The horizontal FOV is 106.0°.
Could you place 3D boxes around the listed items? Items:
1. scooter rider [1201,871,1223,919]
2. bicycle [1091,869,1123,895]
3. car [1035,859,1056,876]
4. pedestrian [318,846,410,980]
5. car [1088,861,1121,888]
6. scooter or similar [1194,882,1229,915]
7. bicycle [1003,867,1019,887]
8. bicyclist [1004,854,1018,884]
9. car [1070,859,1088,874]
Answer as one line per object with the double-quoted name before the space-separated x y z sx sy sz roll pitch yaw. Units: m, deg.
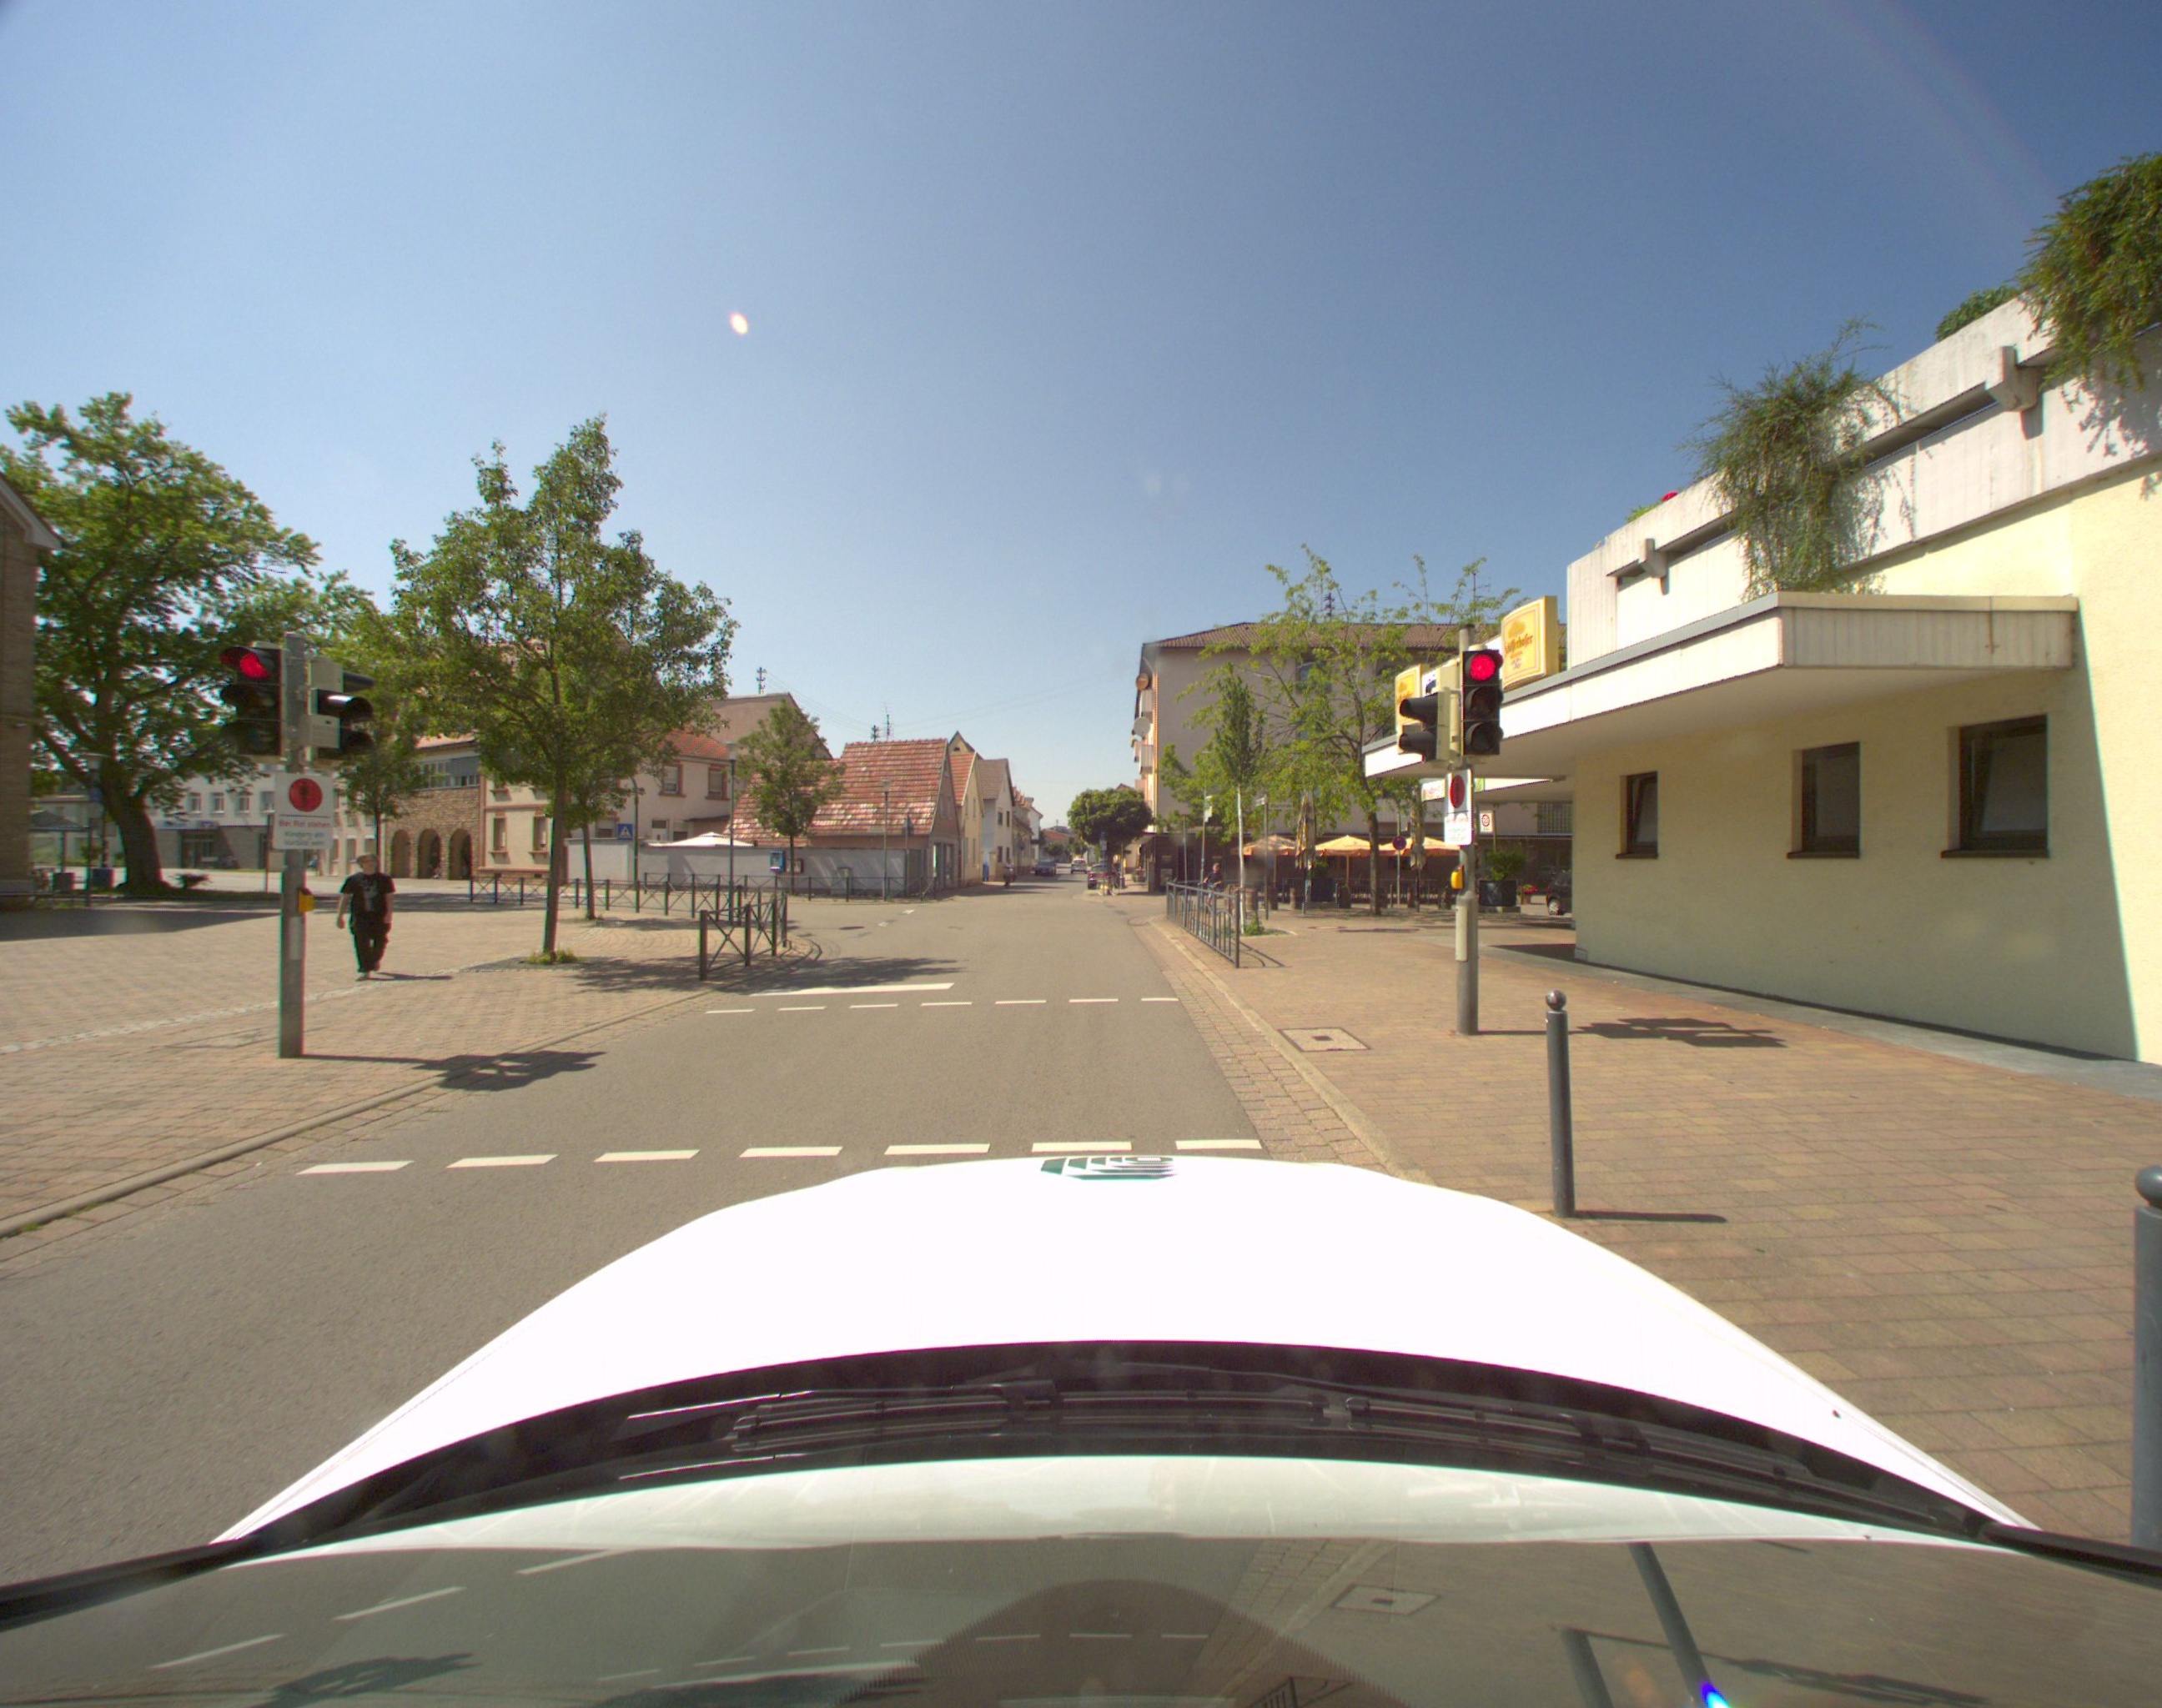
"scooter rider" 3.596 1.126 22.342 0.418 1.286 0.514 0 -1 -19
"bicycle" 1.243 1.309 38.733 0.530 1.193 1.655 1 -1 -42
"car" -3.370 1.293 78.456 1.707 1.517 3.789 0 -1 3
"pedestrian" -9.307 0.739 10.611 0.818 1.655 0.841 2 -2 -40
"car" 1.396 1.160 47.510 1.797 1.501 4.003 0 0 3
"scooter or similar" 3.587 1.216 22.359 0.890 0.873 0.377 0 -1 -19
"bicycle" -4.046 1.324 47.255 0.671 1.094 1.896 -1 -1 2
"bicyclist" -4.059 0.877 47.321 0.666 1.691 0.762 -1 -1 1
"car" -0.210 1.372 89.064 1.826 1.652 4.002 0 -1 2
